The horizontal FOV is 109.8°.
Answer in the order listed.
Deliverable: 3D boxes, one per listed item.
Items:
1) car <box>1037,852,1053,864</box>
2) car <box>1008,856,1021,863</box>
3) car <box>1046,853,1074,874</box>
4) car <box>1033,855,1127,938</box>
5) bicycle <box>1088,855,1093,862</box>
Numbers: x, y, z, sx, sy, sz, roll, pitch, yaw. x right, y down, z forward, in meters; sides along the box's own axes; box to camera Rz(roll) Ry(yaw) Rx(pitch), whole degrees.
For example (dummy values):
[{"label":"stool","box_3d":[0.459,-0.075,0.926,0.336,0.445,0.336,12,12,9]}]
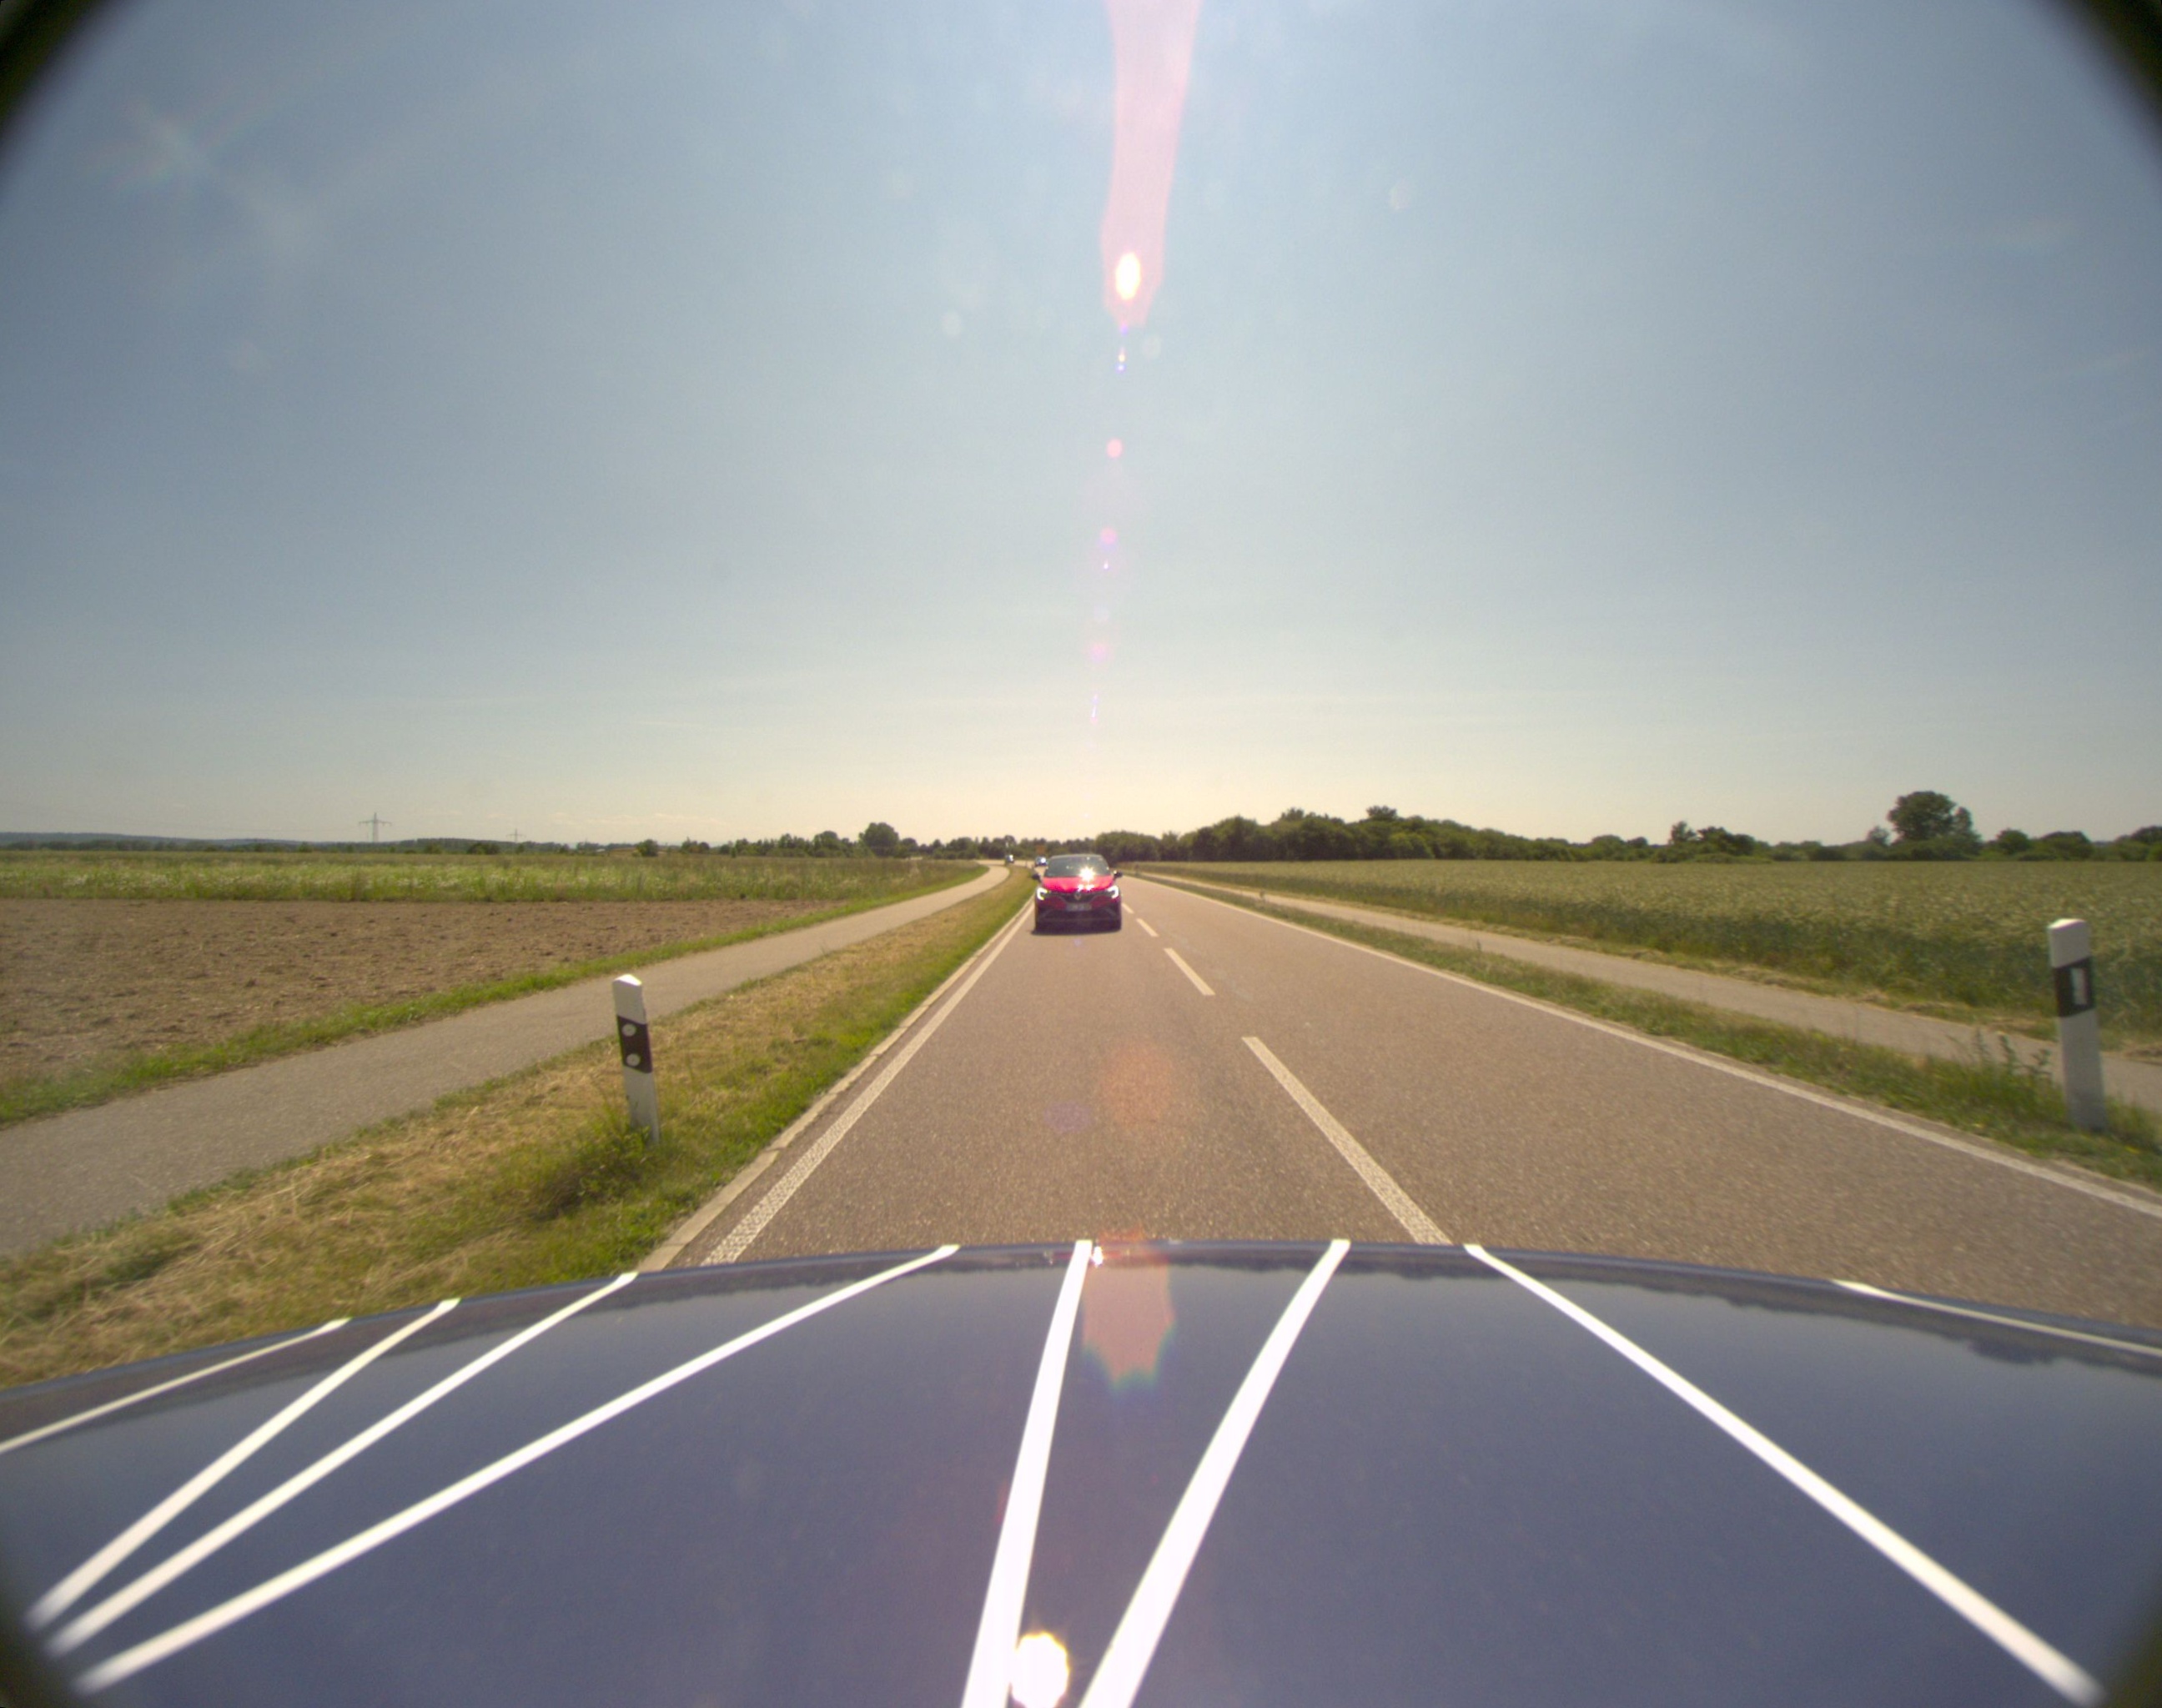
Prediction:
[{"label":"car","box_3d":[-5.243,0.570,110.337,1.984,1.587,5.398,-1,0,-6]},{"label":"car","box_3d":[-14.530,1.177,165.762,1.985,1.587,5.396,-1,0,-12]},{"label":"car","box_3d":[-1.774,0.763,62.243,1.984,1.587,5.399,-1,0,-5]},{"label":"car","box_3d":[-0.117,0.841,17.455,1.837,1.587,4.720,-1,0,-2]},{"label":"bicycle","box_3d":[1.601,0.814,127.576,0.696,1.169,1.962,0,0,-7]}]
